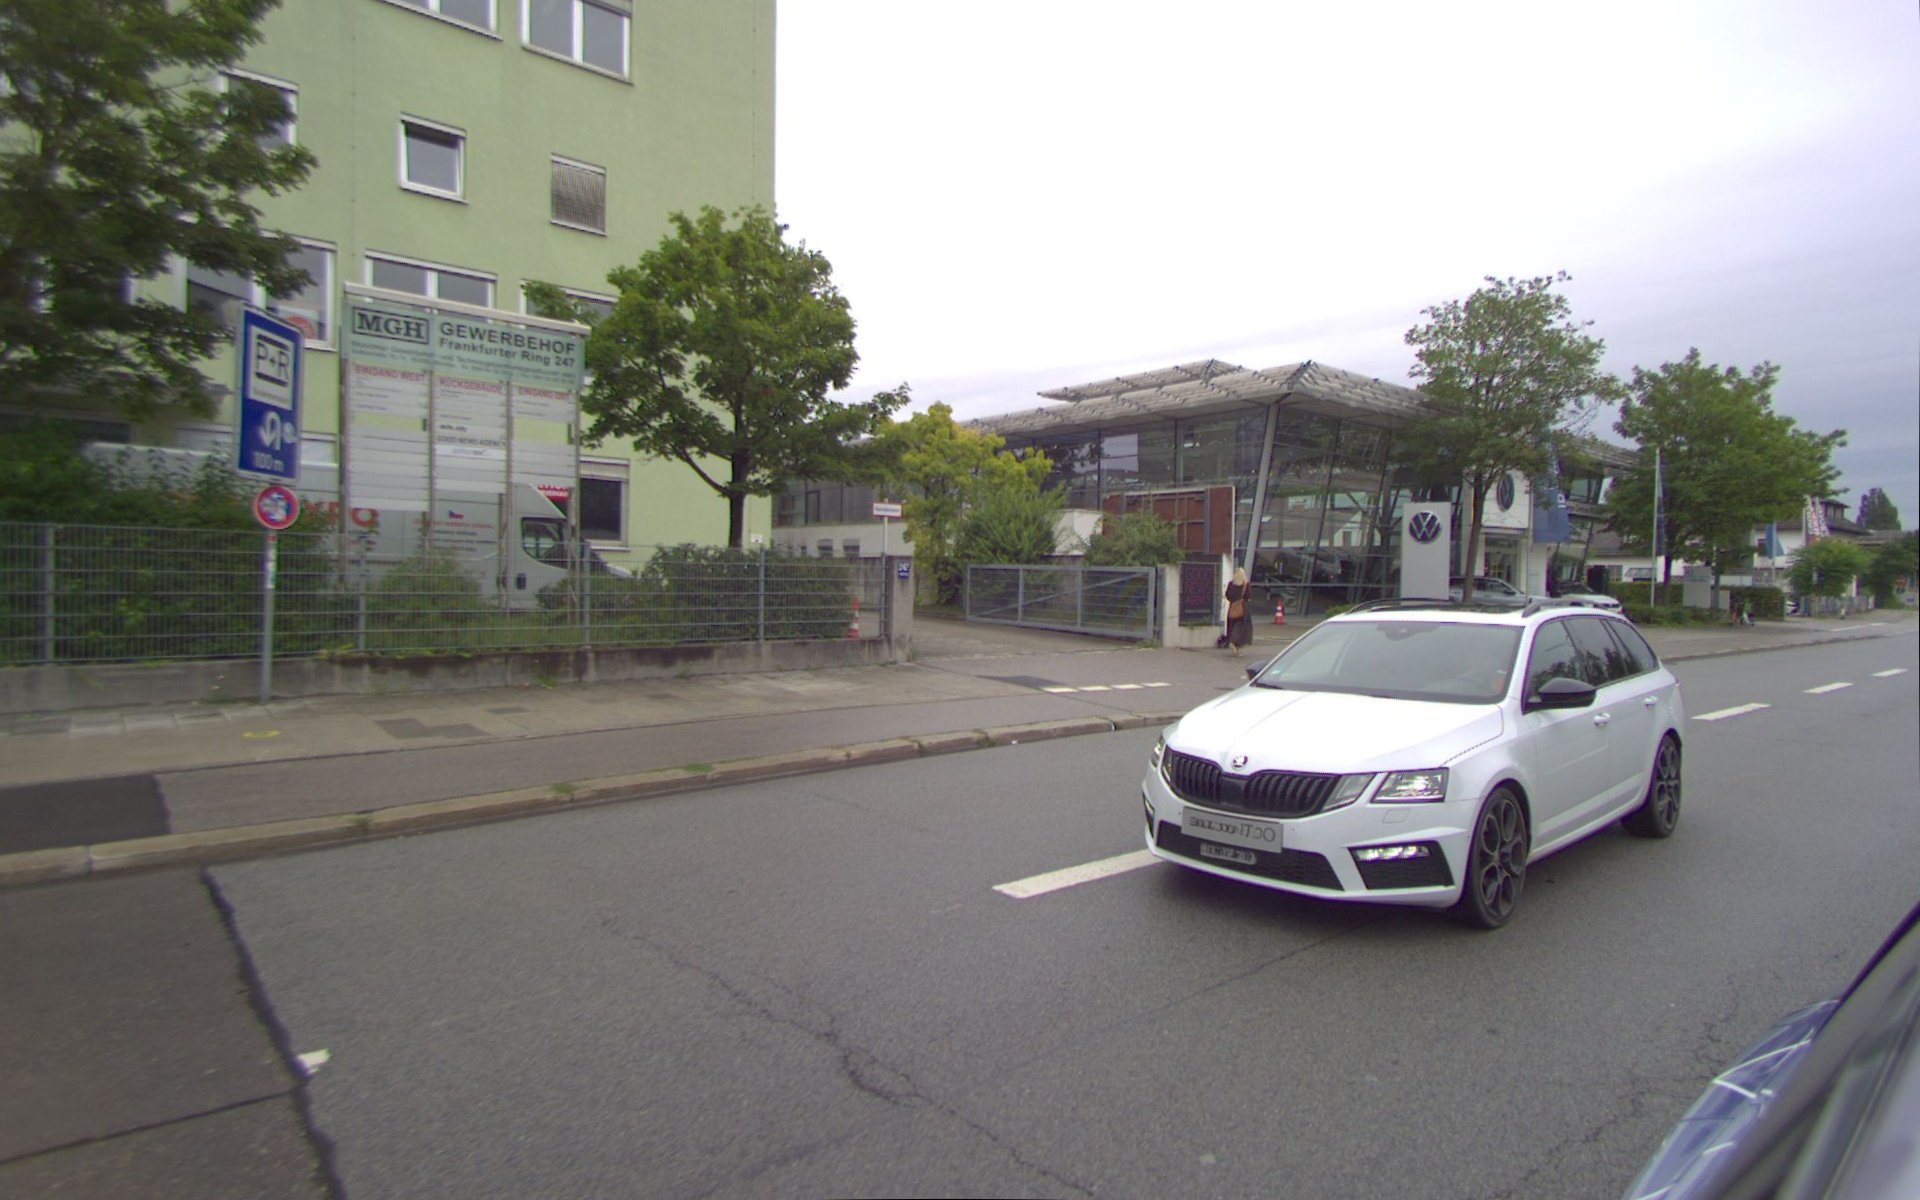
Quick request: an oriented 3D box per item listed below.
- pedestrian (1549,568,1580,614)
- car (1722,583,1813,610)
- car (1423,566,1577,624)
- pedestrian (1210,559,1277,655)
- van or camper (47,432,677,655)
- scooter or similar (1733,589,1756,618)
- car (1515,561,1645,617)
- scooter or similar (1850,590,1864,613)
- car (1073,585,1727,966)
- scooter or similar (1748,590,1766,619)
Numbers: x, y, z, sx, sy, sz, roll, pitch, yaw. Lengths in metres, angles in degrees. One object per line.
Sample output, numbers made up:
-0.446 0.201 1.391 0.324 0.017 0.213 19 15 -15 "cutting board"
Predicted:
23.697 -0.352 39.689 0.792 1.798 0.715 1 1 6 "pedestrian"
48.690 -0.233 61.077 1.761 1.478 4.024 0 2 -39 "car"
18.723 -0.245 35.220 4.567 1.727 1.987 3 4 31 "car"
5.434 0.122 19.395 0.878 1.749 0.761 1 4 -36 "pedestrian"
-7.937 -0.669 14.397 7.246 2.528 2.132 0 1 -34 "van or camper"
34.446 0.172 44.440 1.405 1.219 0.497 1 4 -42 "scooter or similar"
25.093 -0.503 41.158 1.921 2.038 4.273 0 3 -15 "car"
52.225 0.079 58.941 0.396 1.237 1.618 4 4 37 "scooter or similar"
2.900 0.650 6.110 4.477 1.466 1.913 0 1 -41 "car"
36.134 0.184 45.888 0.495 1.219 1.409 5 5 40 "scooter or similar"
